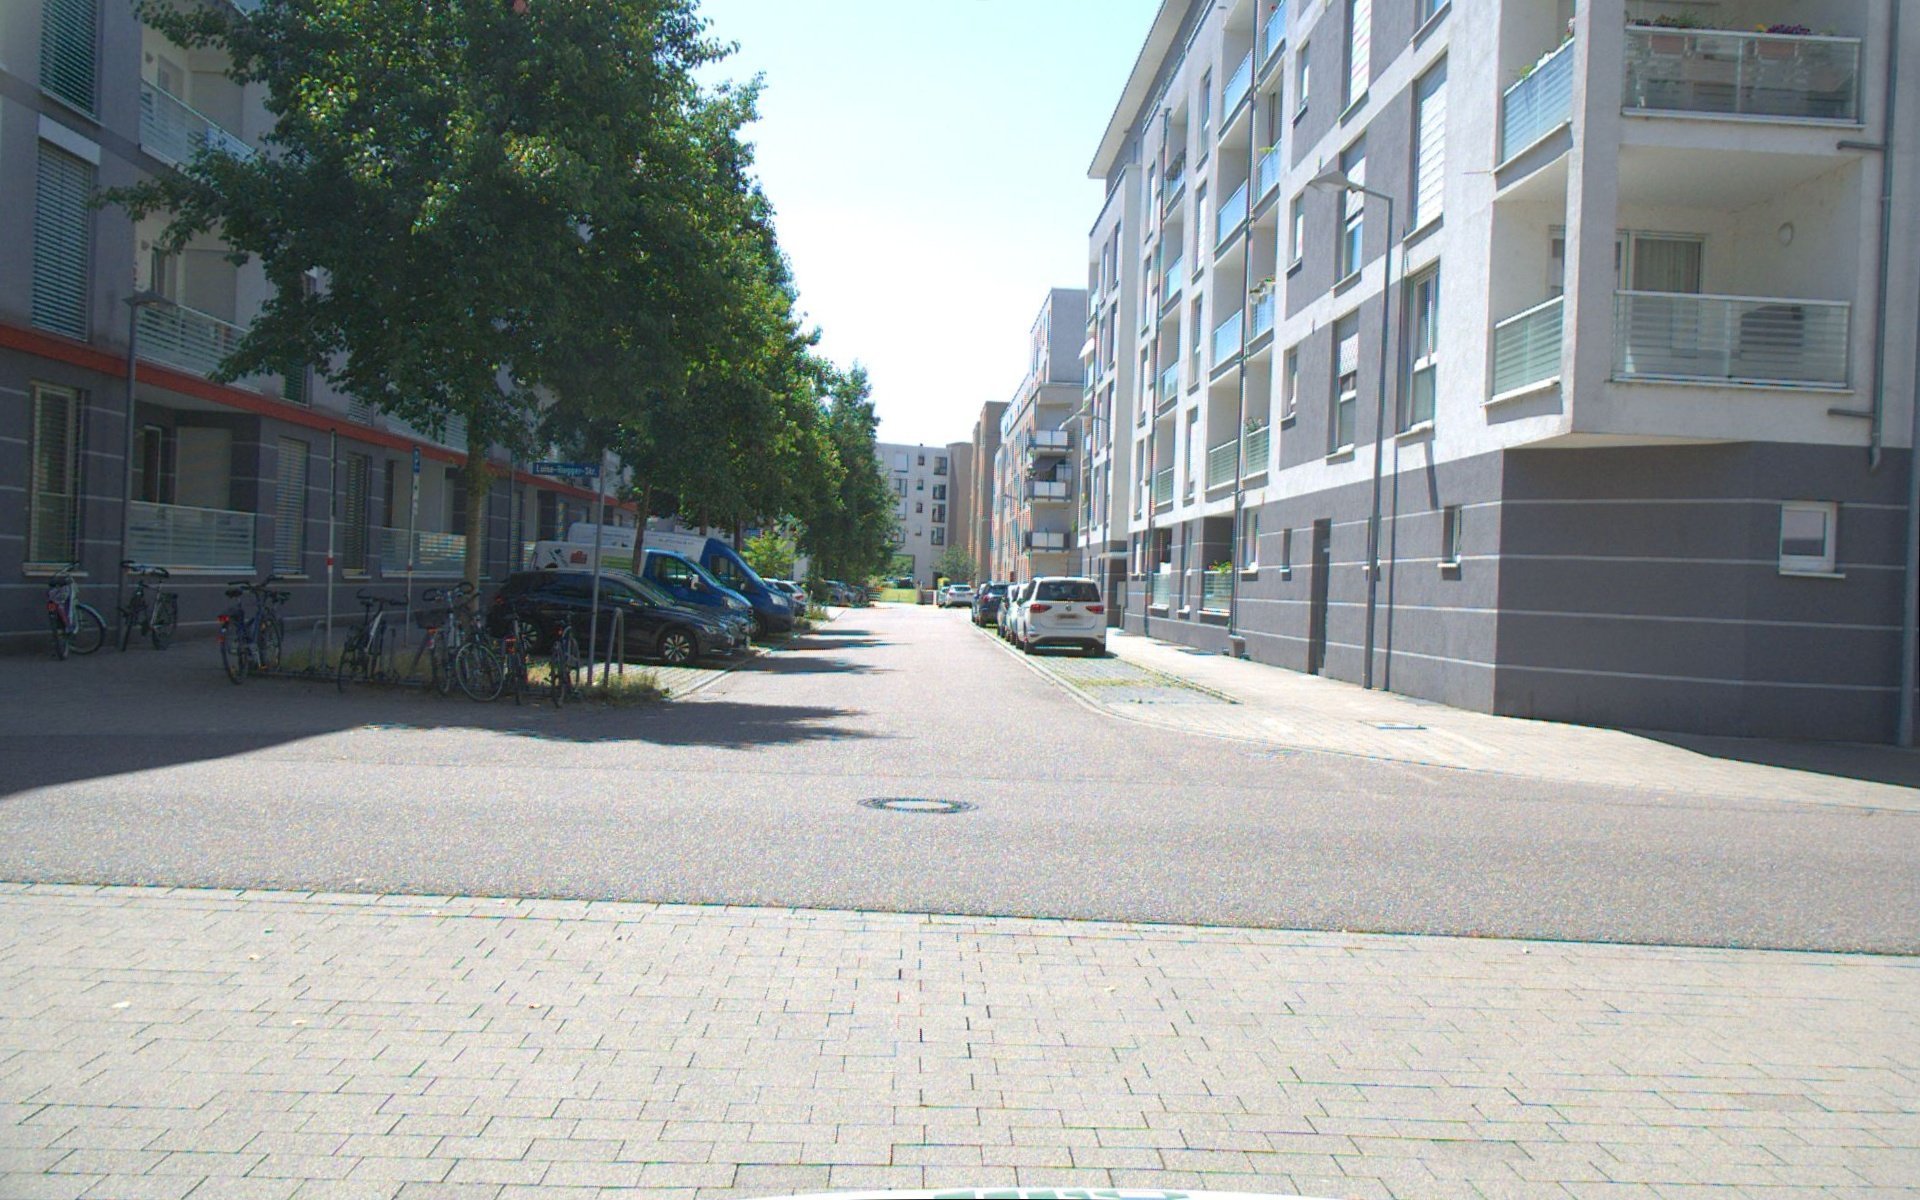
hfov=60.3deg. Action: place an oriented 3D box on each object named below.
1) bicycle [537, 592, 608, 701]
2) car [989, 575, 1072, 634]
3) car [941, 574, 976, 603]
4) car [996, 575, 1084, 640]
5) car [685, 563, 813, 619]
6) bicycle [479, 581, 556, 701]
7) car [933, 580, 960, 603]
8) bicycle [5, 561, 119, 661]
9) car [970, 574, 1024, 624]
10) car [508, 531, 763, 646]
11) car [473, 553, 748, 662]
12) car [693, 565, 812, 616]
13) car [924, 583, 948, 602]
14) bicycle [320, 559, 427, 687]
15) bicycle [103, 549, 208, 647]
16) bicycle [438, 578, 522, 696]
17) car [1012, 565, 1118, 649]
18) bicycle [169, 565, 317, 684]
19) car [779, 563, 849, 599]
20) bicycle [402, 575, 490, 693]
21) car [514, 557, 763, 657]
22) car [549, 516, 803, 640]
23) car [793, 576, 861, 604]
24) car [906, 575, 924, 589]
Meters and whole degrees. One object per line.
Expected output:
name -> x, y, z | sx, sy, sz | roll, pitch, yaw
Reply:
bicycle -> -4.438, 0.508, 19.040 | 0.456, 1.161, 1.925 | 2, 1, -4
car -> 1.949, 0.092, 46.893 | 1.954, 1.551, 3.998 | 1, 1, -3
car -> -0.107, -0.744, 104.969 | 1.954, 1.704, 3.998 | 2, 1, -3
car -> 1.982, 0.154, 42.064 | 1.953, 1.551, 3.999 | 1, 1, -1
car -> -6.971, -0.299, 54.943 | 3.905, 1.691, 2.000 | 2, 1, 0
bicycle -> -5.009, 0.437, 18.800 | 0.560, 1.194, 1.765 | 5, 2, -9
car -> -1.091, -0.708, 132.173 | 1.954, 1.747, 3.998 | 2, 1, -3
bicycle -> -10.746, 0.107, 19.858 | 0.596, 1.126, 2.100 | 2, 1, -12
car -> 1.275, -0.065, 56.452 | 1.721, 1.579, 4.001 | 3, 1, 1
car -> -6.975, -0.261, 36.039 | 5.042, 2.156, 2.311 | 3, 1, -2
car -> -6.016, 0.115, 28.887 | 4.295, 1.541, 2.074 | 4, 1, -2
car -> -7.320, -0.345, 58.669 | 3.905, 1.646, 2.000 | 2, 1, 0
car -> -2.111, -0.659, 146.207 | 1.954, 1.545, 3.998 | 2, 1, -3
bicycle -> -6.636, 0.228, 18.793 | 0.581, 1.354, 1.812 | 1, 2, -1
bicycle -> -10.901, -0.038, 22.479 | 0.540, 1.261, 1.924 | 1, 1, -2
bicycle -> -5.432, 0.390, 18.791 | 0.425, 1.224, 1.699 | 3, 2, -1
car -> 2.235, 0.119, 36.369 | 1.957, 1.686, 4.114 | 1, 1, -1
bicycle -> -8.006, 0.238, 18.579 | 0.675, 1.190, 2.222 | 4, 2, -1
car -> -8.816, -1.138, 100.263 | 3.903, 2.048, 2.001 | 2, 1, 5
bicycle -> -5.895, 0.360, 19.028 | 0.508, 1.224, 1.751 | 3, 2, -4
car -> -6.022, 0.112, 31.353 | 4.295, 1.568, 1.878 | 4, 1, -2
car -> -7.008, -0.542, 41.469 | 5.902, 2.865, 2.604 | 1, 1, -2
car -> -8.262, -0.630, 102.878 | 3.903, 1.630, 2.001 | 2, 1, 4
car -> -5.155, -2.032, 188.227 | 1.954, 1.545, 3.998 | 2, 1, -3
